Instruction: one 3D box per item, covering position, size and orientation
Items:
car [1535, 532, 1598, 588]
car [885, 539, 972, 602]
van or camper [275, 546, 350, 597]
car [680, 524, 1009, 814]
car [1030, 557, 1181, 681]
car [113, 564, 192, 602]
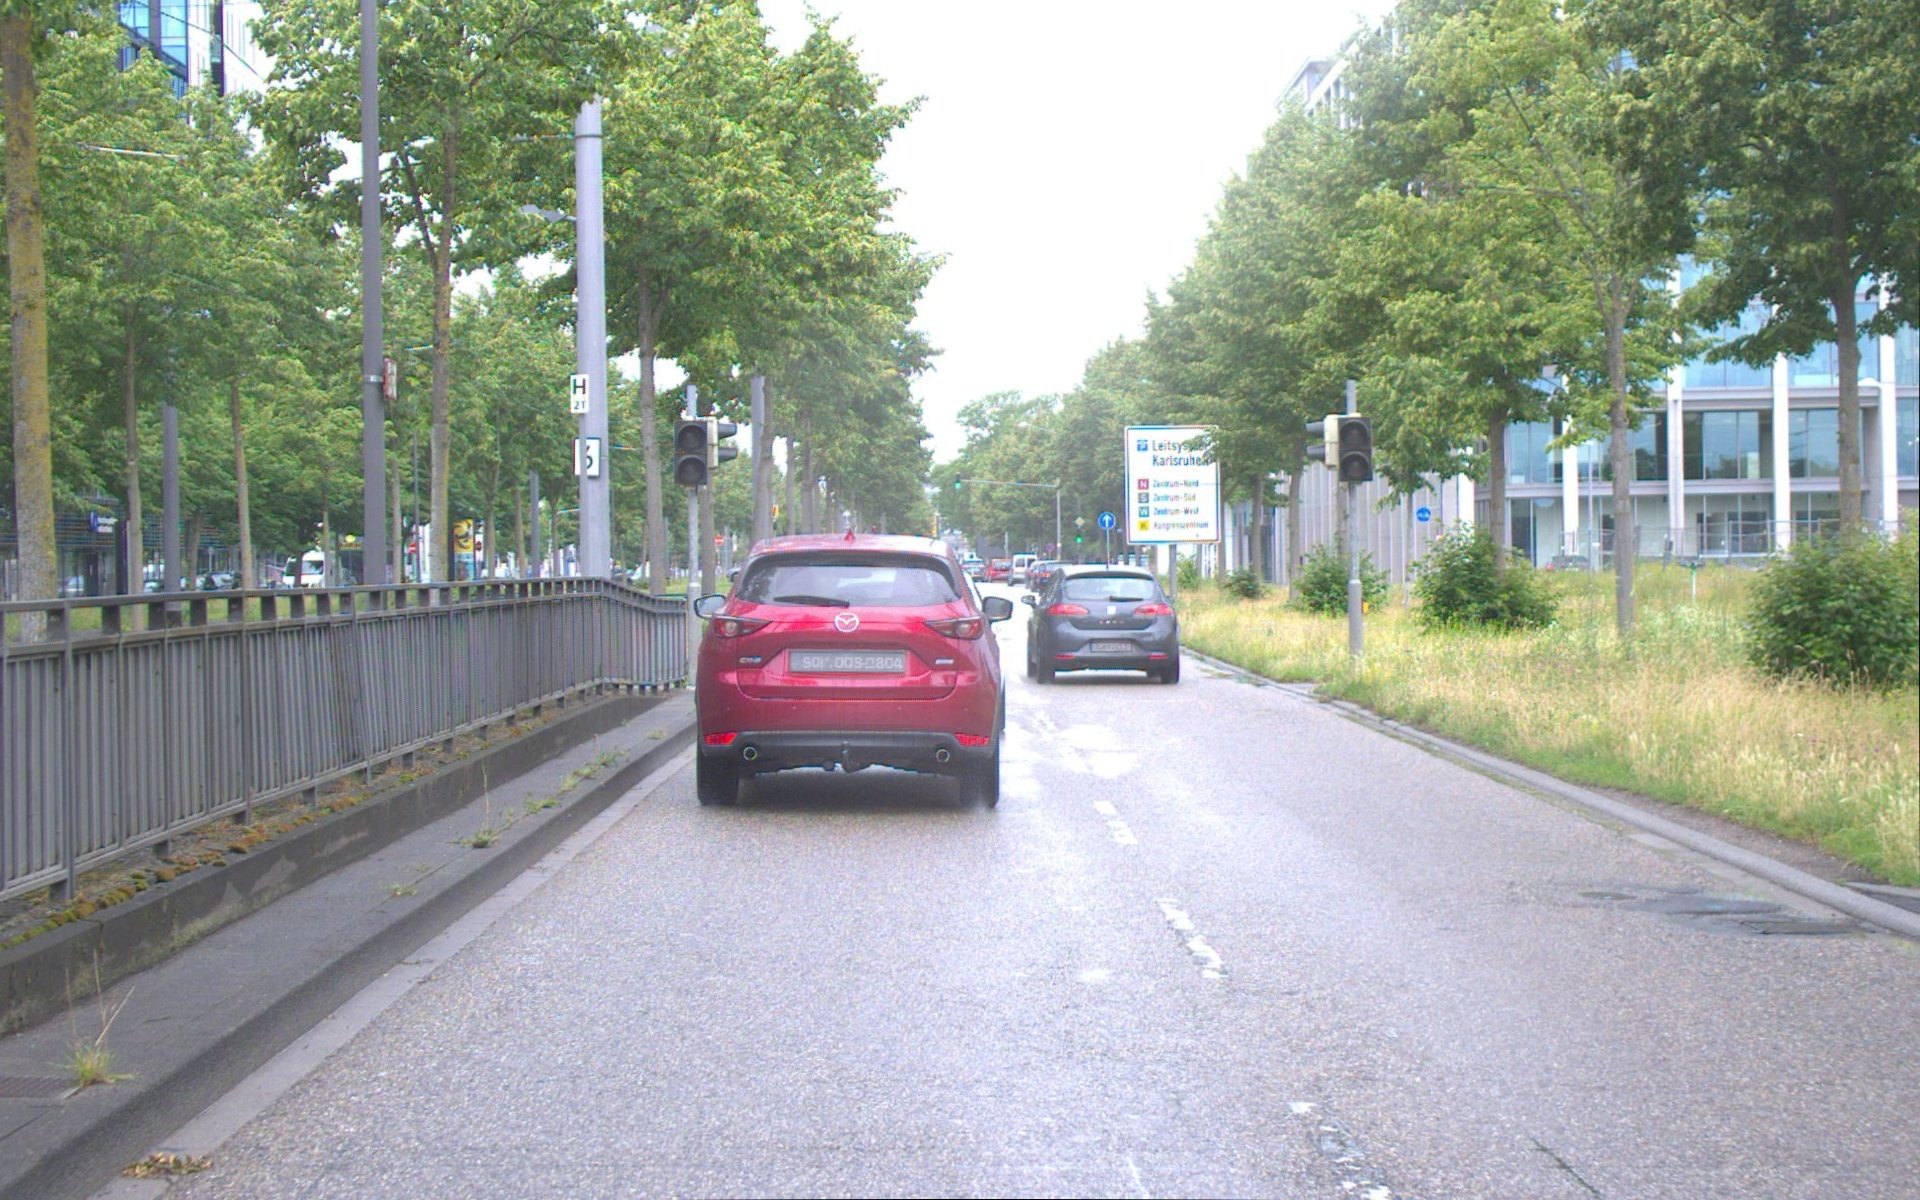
[{"bbox_3d":[20.406,-1.326,115.738,1.855,1.576,3.998,0,-4,7],"label":"car"},{"bbox_3d":[-0.786,-0.728,82.718,1.967,1.432,4.553,1,1,-2],"label":"car"},{"bbox_3d":[-30.219,-1.347,160.649,2.433,2.307,5.850,0,1,0],"label":"van or camper"},{"bbox_3d":[-0.705,0.370,21.942,1.898,1.671,4.000,0,1,-1],"label":"car"},{"bbox_3d":[1.765,0.207,42.805,1.743,1.460,3.781,0,1,0],"label":"car"},{"bbox_3d":[-29.962,-0.637,127.675,1.993,1.374,4.000,0,1,0],"label":"car"}]
